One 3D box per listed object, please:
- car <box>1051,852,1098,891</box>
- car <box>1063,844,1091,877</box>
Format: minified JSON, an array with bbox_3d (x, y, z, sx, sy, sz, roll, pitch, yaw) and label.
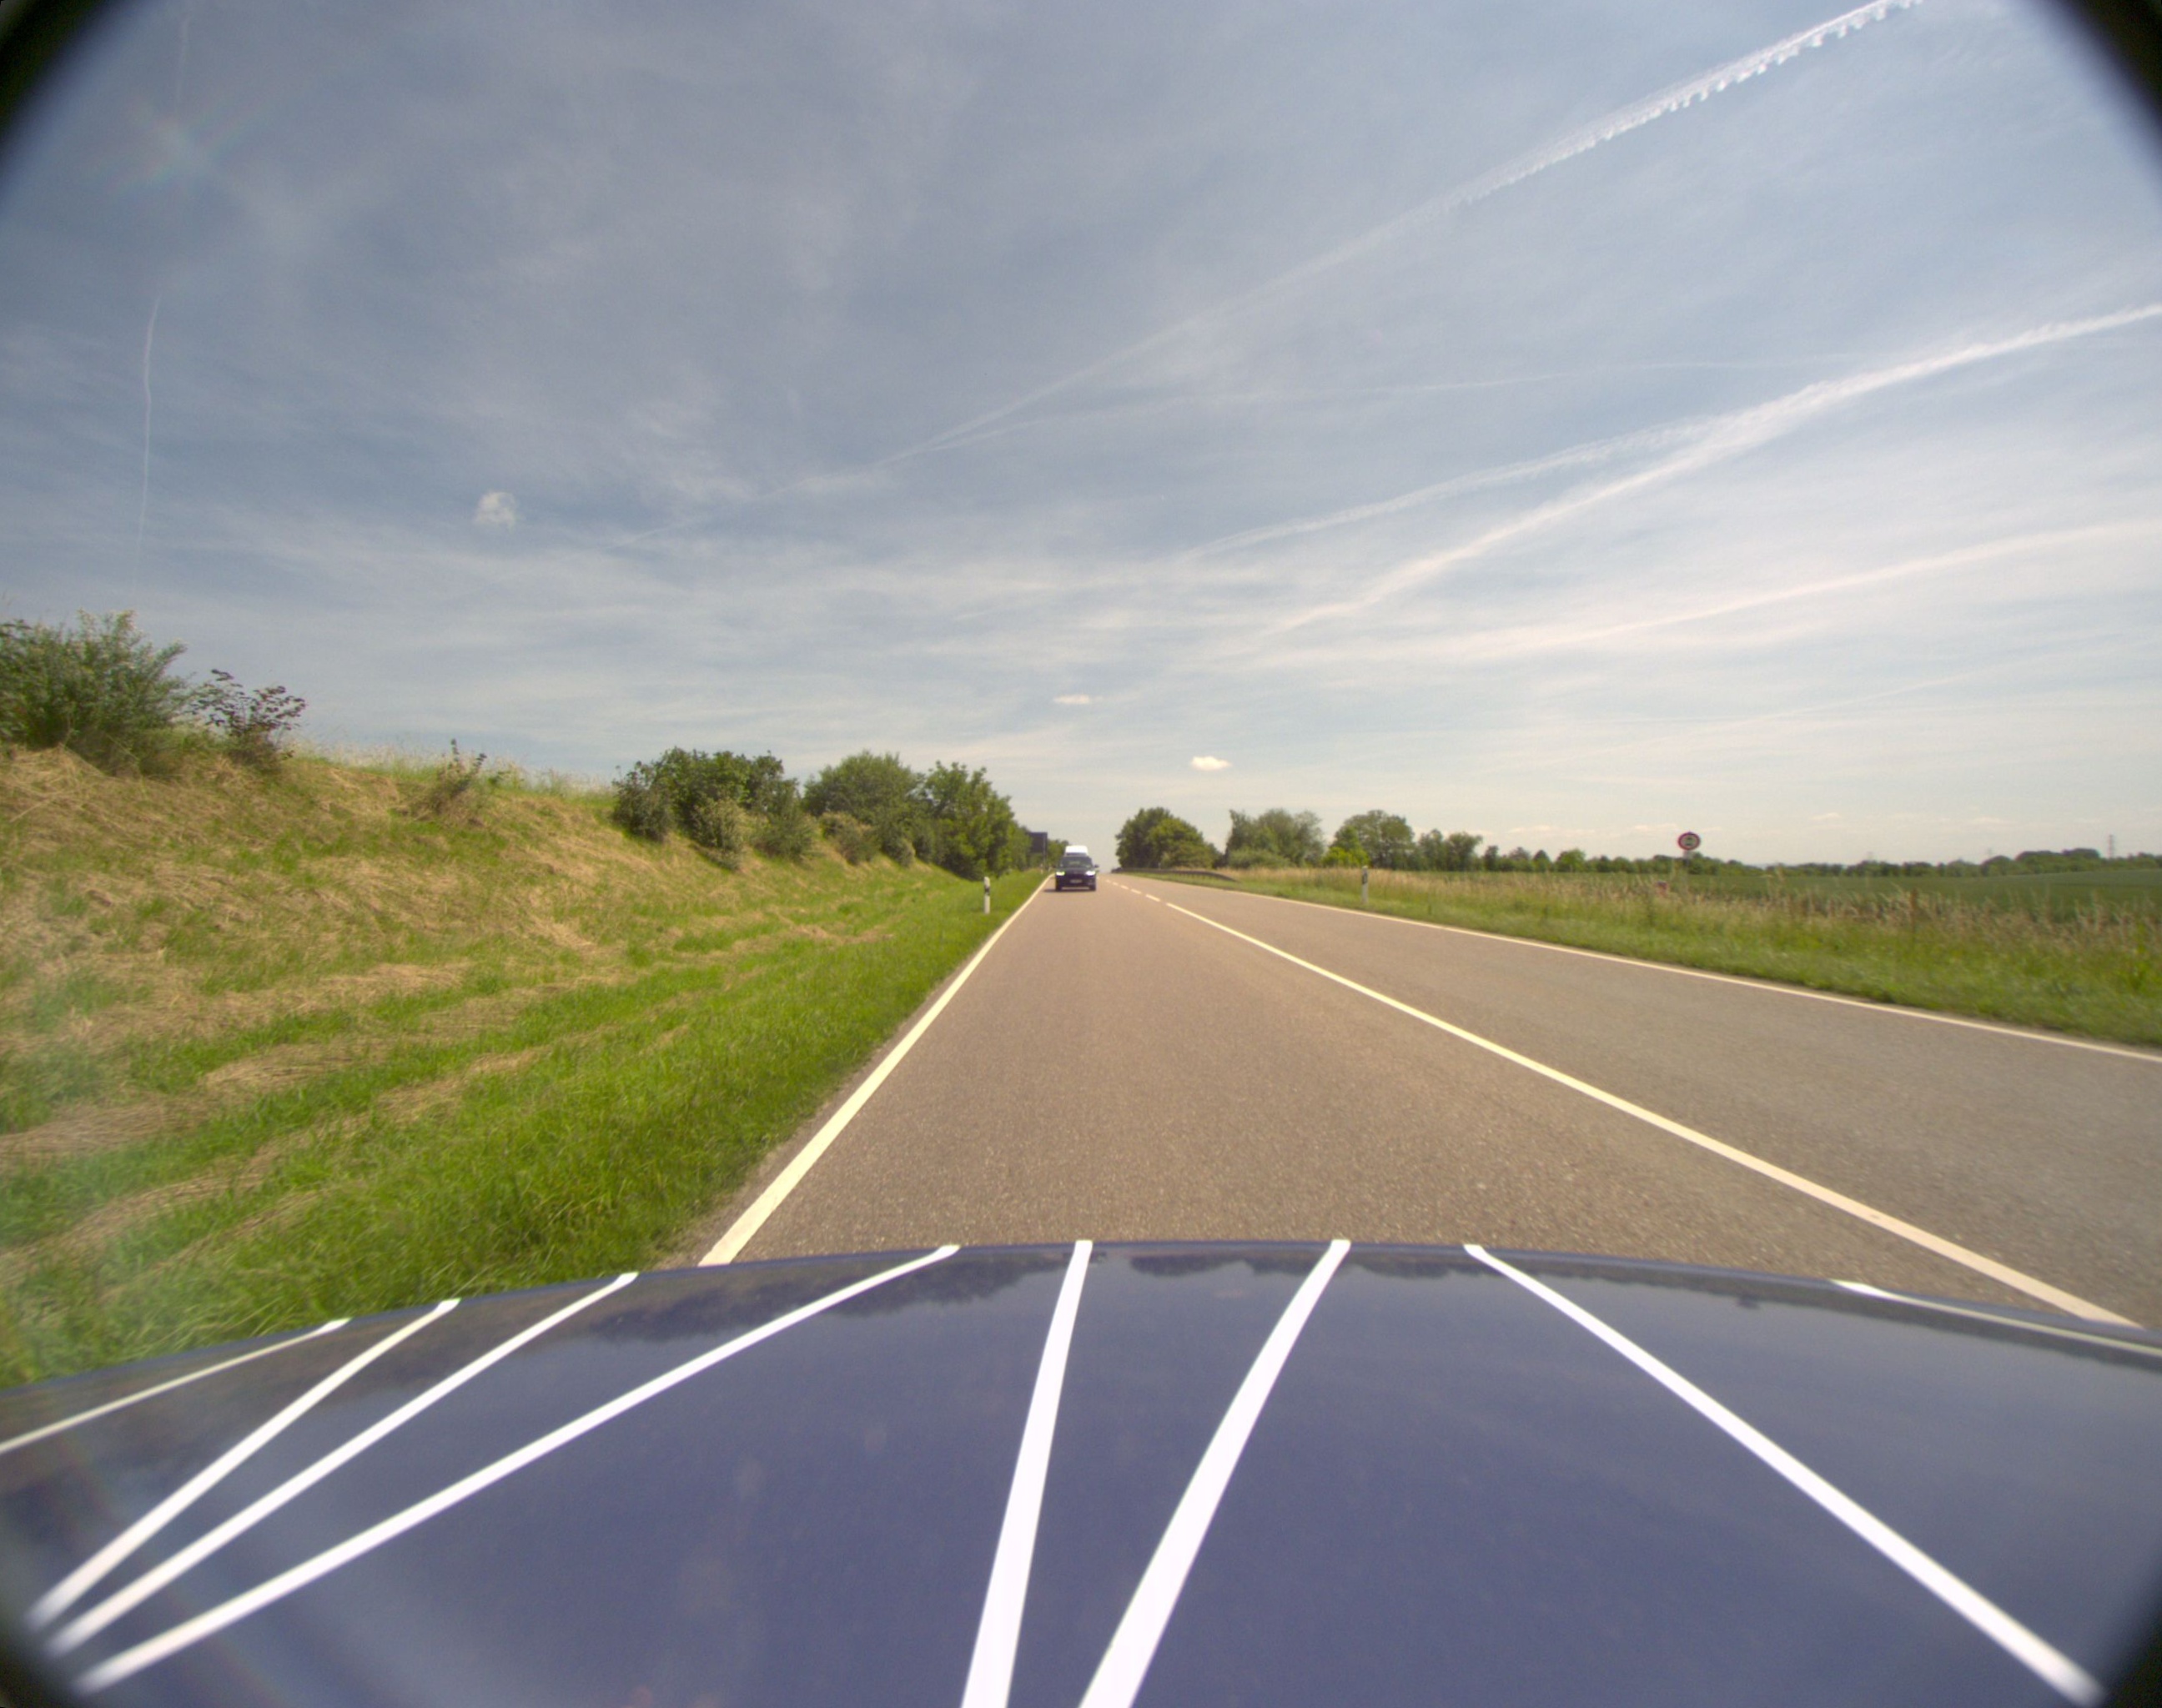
[{"bbox_3d":[-0.223,0.790,36.419,2.039,1.691,5.513,-1,0,1],"label":"car"},{"bbox_3d":[-0.264,0.533,62.981,2.226,2.617,5.752,0,0,0],"label":"car"}]
